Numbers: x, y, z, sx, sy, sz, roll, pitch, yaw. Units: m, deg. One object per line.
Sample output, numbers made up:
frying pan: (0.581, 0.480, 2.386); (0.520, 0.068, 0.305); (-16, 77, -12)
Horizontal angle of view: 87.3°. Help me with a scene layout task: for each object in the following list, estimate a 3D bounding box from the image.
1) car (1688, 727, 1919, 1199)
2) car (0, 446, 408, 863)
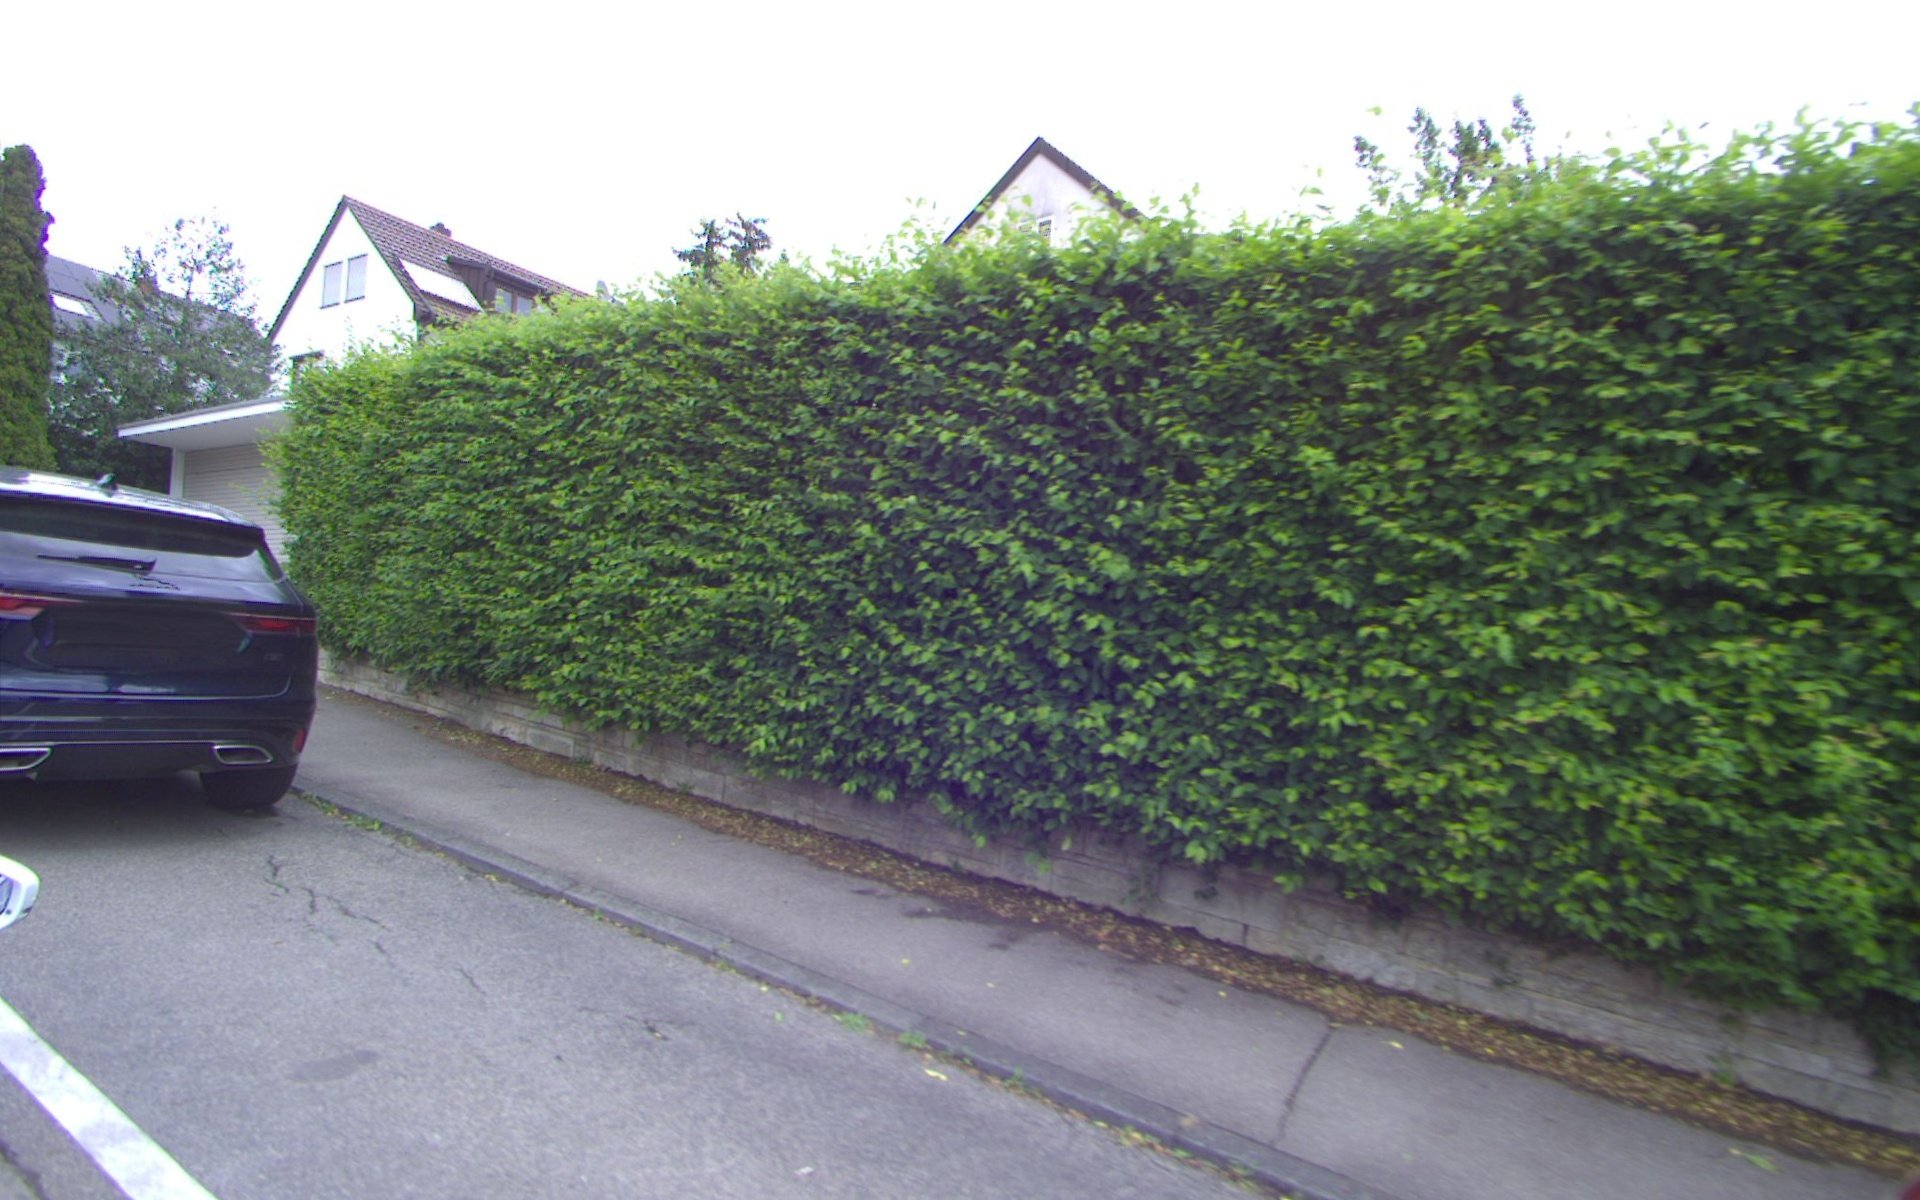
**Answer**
car: (2.822, 1.166, 0.598); (3.696, 1.526, 1.663); (7, 0, 32)
car: (-5.330, 0.090, 5.611); (4.441, 1.636, 1.997); (6, -3, 34)
